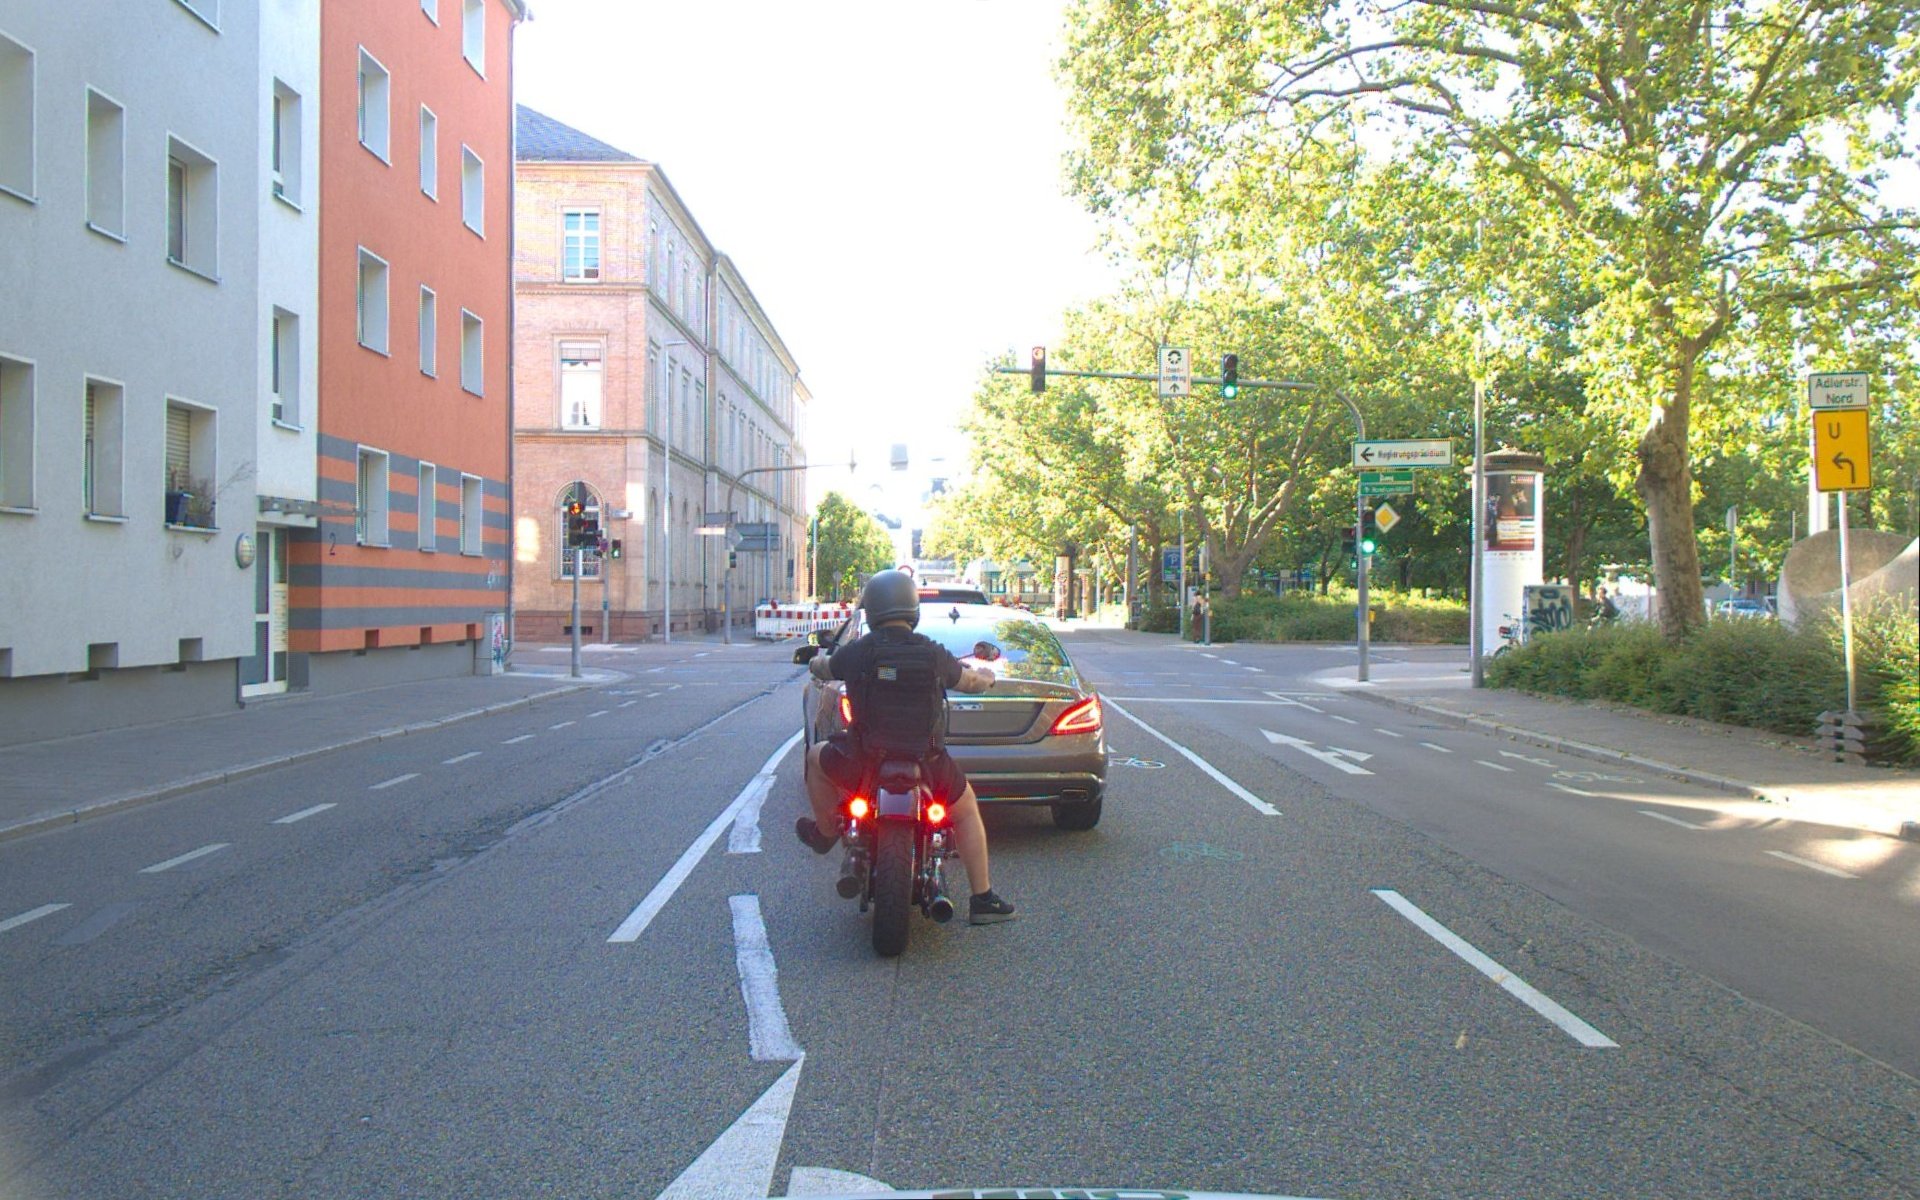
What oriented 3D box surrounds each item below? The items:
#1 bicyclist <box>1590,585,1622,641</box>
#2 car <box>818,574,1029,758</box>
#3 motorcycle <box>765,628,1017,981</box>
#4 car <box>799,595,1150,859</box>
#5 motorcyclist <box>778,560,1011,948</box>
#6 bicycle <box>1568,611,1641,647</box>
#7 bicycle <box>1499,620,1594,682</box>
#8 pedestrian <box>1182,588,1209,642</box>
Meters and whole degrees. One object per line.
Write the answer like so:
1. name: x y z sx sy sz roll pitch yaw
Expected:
1. bicyclist: 18.923 0.371 48.427 0.715 1.610 0.597 1 -1 5
2. car: -0.366 0.631 17.527 1.953 1.695 3.999 1 0 -1
3. motorcycle: -0.281 0.805 7.545 0.961 1.297 2.407 0 0 -1
4. car: -0.118 0.708 11.608 1.834 1.469 4.422 0 0 -8
5. motorcyclist: -0.281 0.635 7.475 0.961 1.606 1.248 0 0 -1
6. bicycle: 18.859 0.852 48.422 1.877 0.997 0.602 1 0 5
7. bicycle: 9.782 0.841 27.584 1.452 0.997 0.299 1 -1 5
8. pedestrian: 7.932 0.492 55.626 0.607 1.803 0.674 1 -1 -25
